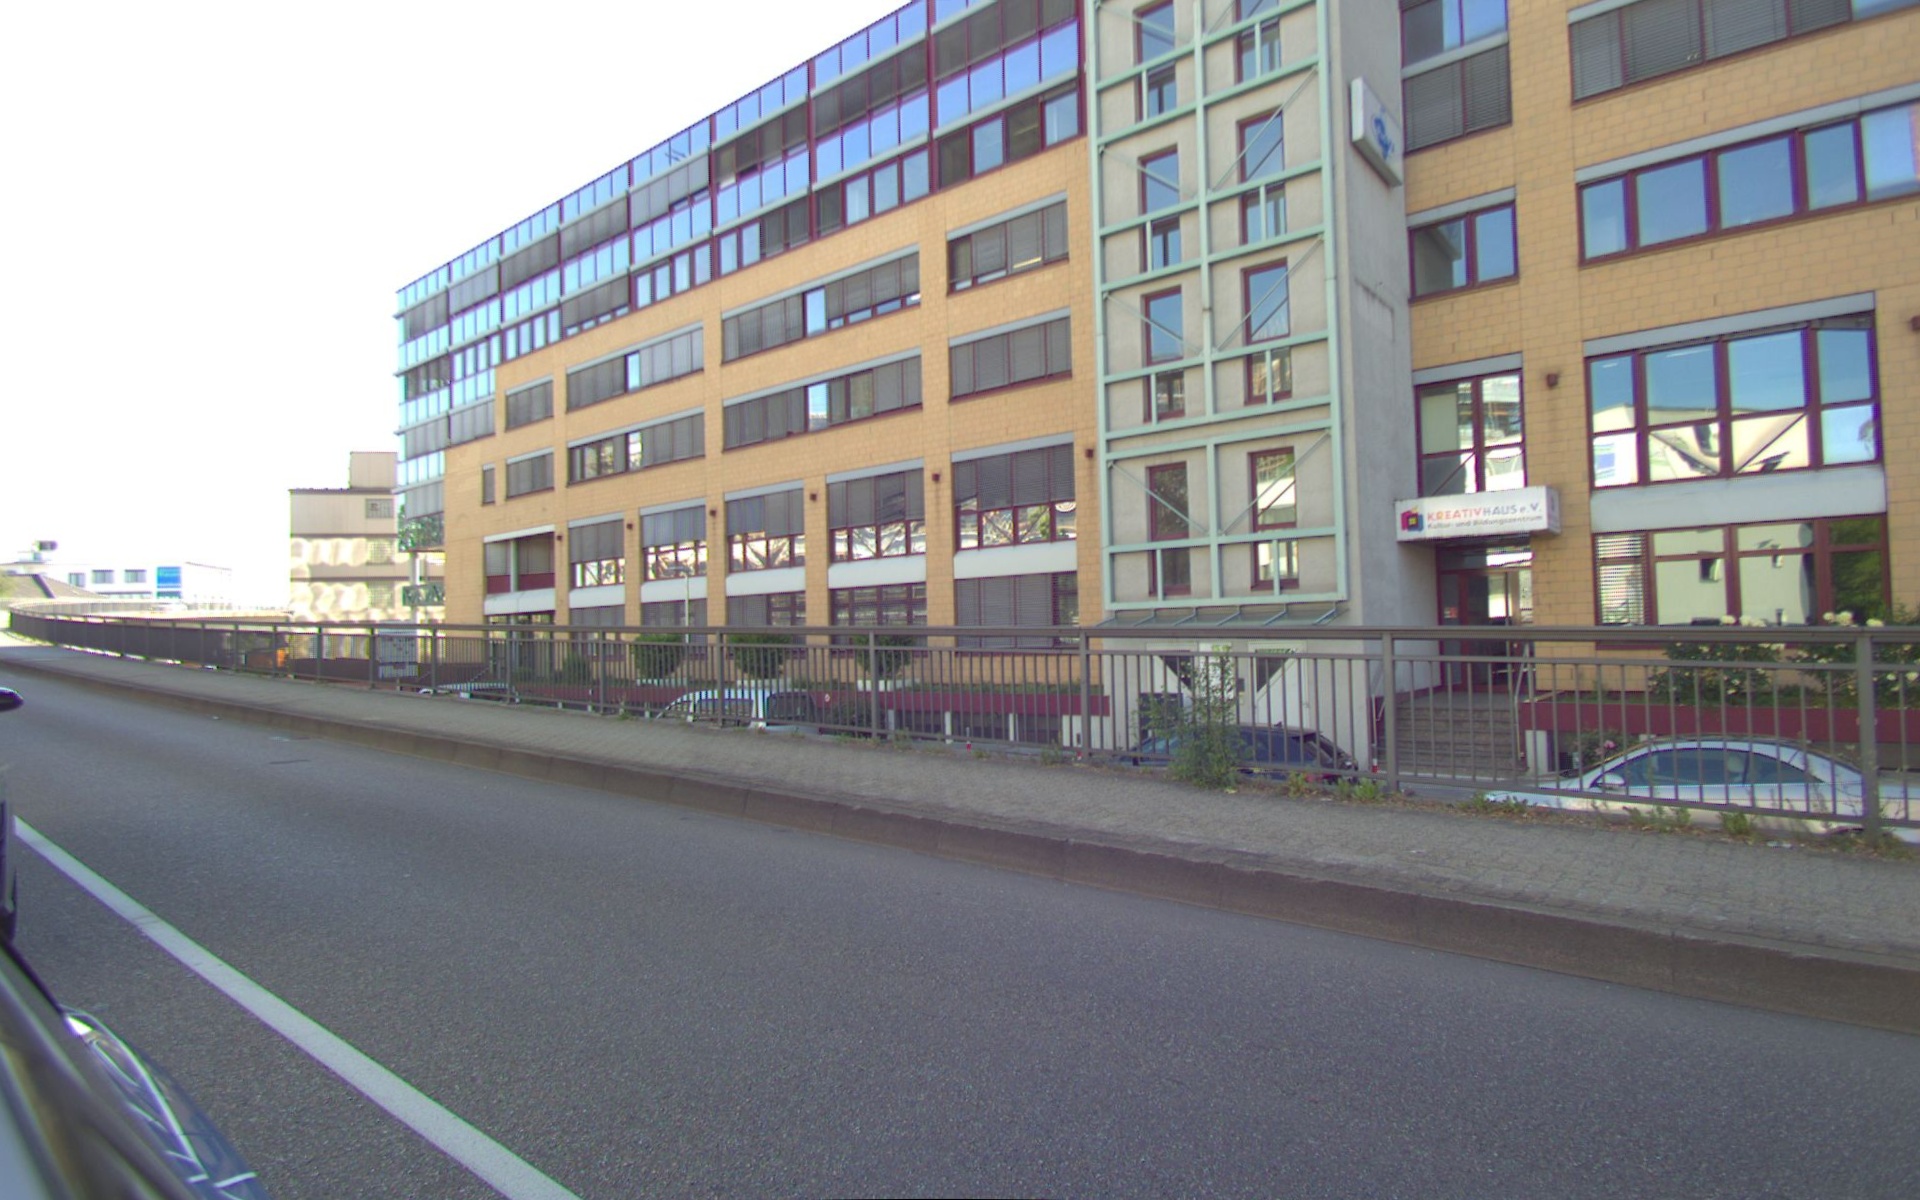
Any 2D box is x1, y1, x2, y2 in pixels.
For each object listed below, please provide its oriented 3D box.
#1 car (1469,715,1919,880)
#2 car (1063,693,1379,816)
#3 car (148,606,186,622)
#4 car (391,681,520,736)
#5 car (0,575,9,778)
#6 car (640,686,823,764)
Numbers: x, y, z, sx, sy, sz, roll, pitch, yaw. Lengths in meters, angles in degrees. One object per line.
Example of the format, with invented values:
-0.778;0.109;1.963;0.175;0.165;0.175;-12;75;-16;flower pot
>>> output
7.675;1.878;10.210;4.254;1.175;1.704;-3;-4;40;car
3.394;1.960;13.569;3.805;1.279;1.560;-3;-4;40;car
-85.103;1.499;108.702;1.920;1.475;4.013;5;-3;-20;car
-13.778;2.915;27.585;3.805;1.279;1.744;-3;-4;40;car
-5.854;0.774;4.662;3.998;1.660;1.726;-3;-4;41;car
-4.605;2.417;20.130;3.805;1.279;1.560;-3;-4;40;car
